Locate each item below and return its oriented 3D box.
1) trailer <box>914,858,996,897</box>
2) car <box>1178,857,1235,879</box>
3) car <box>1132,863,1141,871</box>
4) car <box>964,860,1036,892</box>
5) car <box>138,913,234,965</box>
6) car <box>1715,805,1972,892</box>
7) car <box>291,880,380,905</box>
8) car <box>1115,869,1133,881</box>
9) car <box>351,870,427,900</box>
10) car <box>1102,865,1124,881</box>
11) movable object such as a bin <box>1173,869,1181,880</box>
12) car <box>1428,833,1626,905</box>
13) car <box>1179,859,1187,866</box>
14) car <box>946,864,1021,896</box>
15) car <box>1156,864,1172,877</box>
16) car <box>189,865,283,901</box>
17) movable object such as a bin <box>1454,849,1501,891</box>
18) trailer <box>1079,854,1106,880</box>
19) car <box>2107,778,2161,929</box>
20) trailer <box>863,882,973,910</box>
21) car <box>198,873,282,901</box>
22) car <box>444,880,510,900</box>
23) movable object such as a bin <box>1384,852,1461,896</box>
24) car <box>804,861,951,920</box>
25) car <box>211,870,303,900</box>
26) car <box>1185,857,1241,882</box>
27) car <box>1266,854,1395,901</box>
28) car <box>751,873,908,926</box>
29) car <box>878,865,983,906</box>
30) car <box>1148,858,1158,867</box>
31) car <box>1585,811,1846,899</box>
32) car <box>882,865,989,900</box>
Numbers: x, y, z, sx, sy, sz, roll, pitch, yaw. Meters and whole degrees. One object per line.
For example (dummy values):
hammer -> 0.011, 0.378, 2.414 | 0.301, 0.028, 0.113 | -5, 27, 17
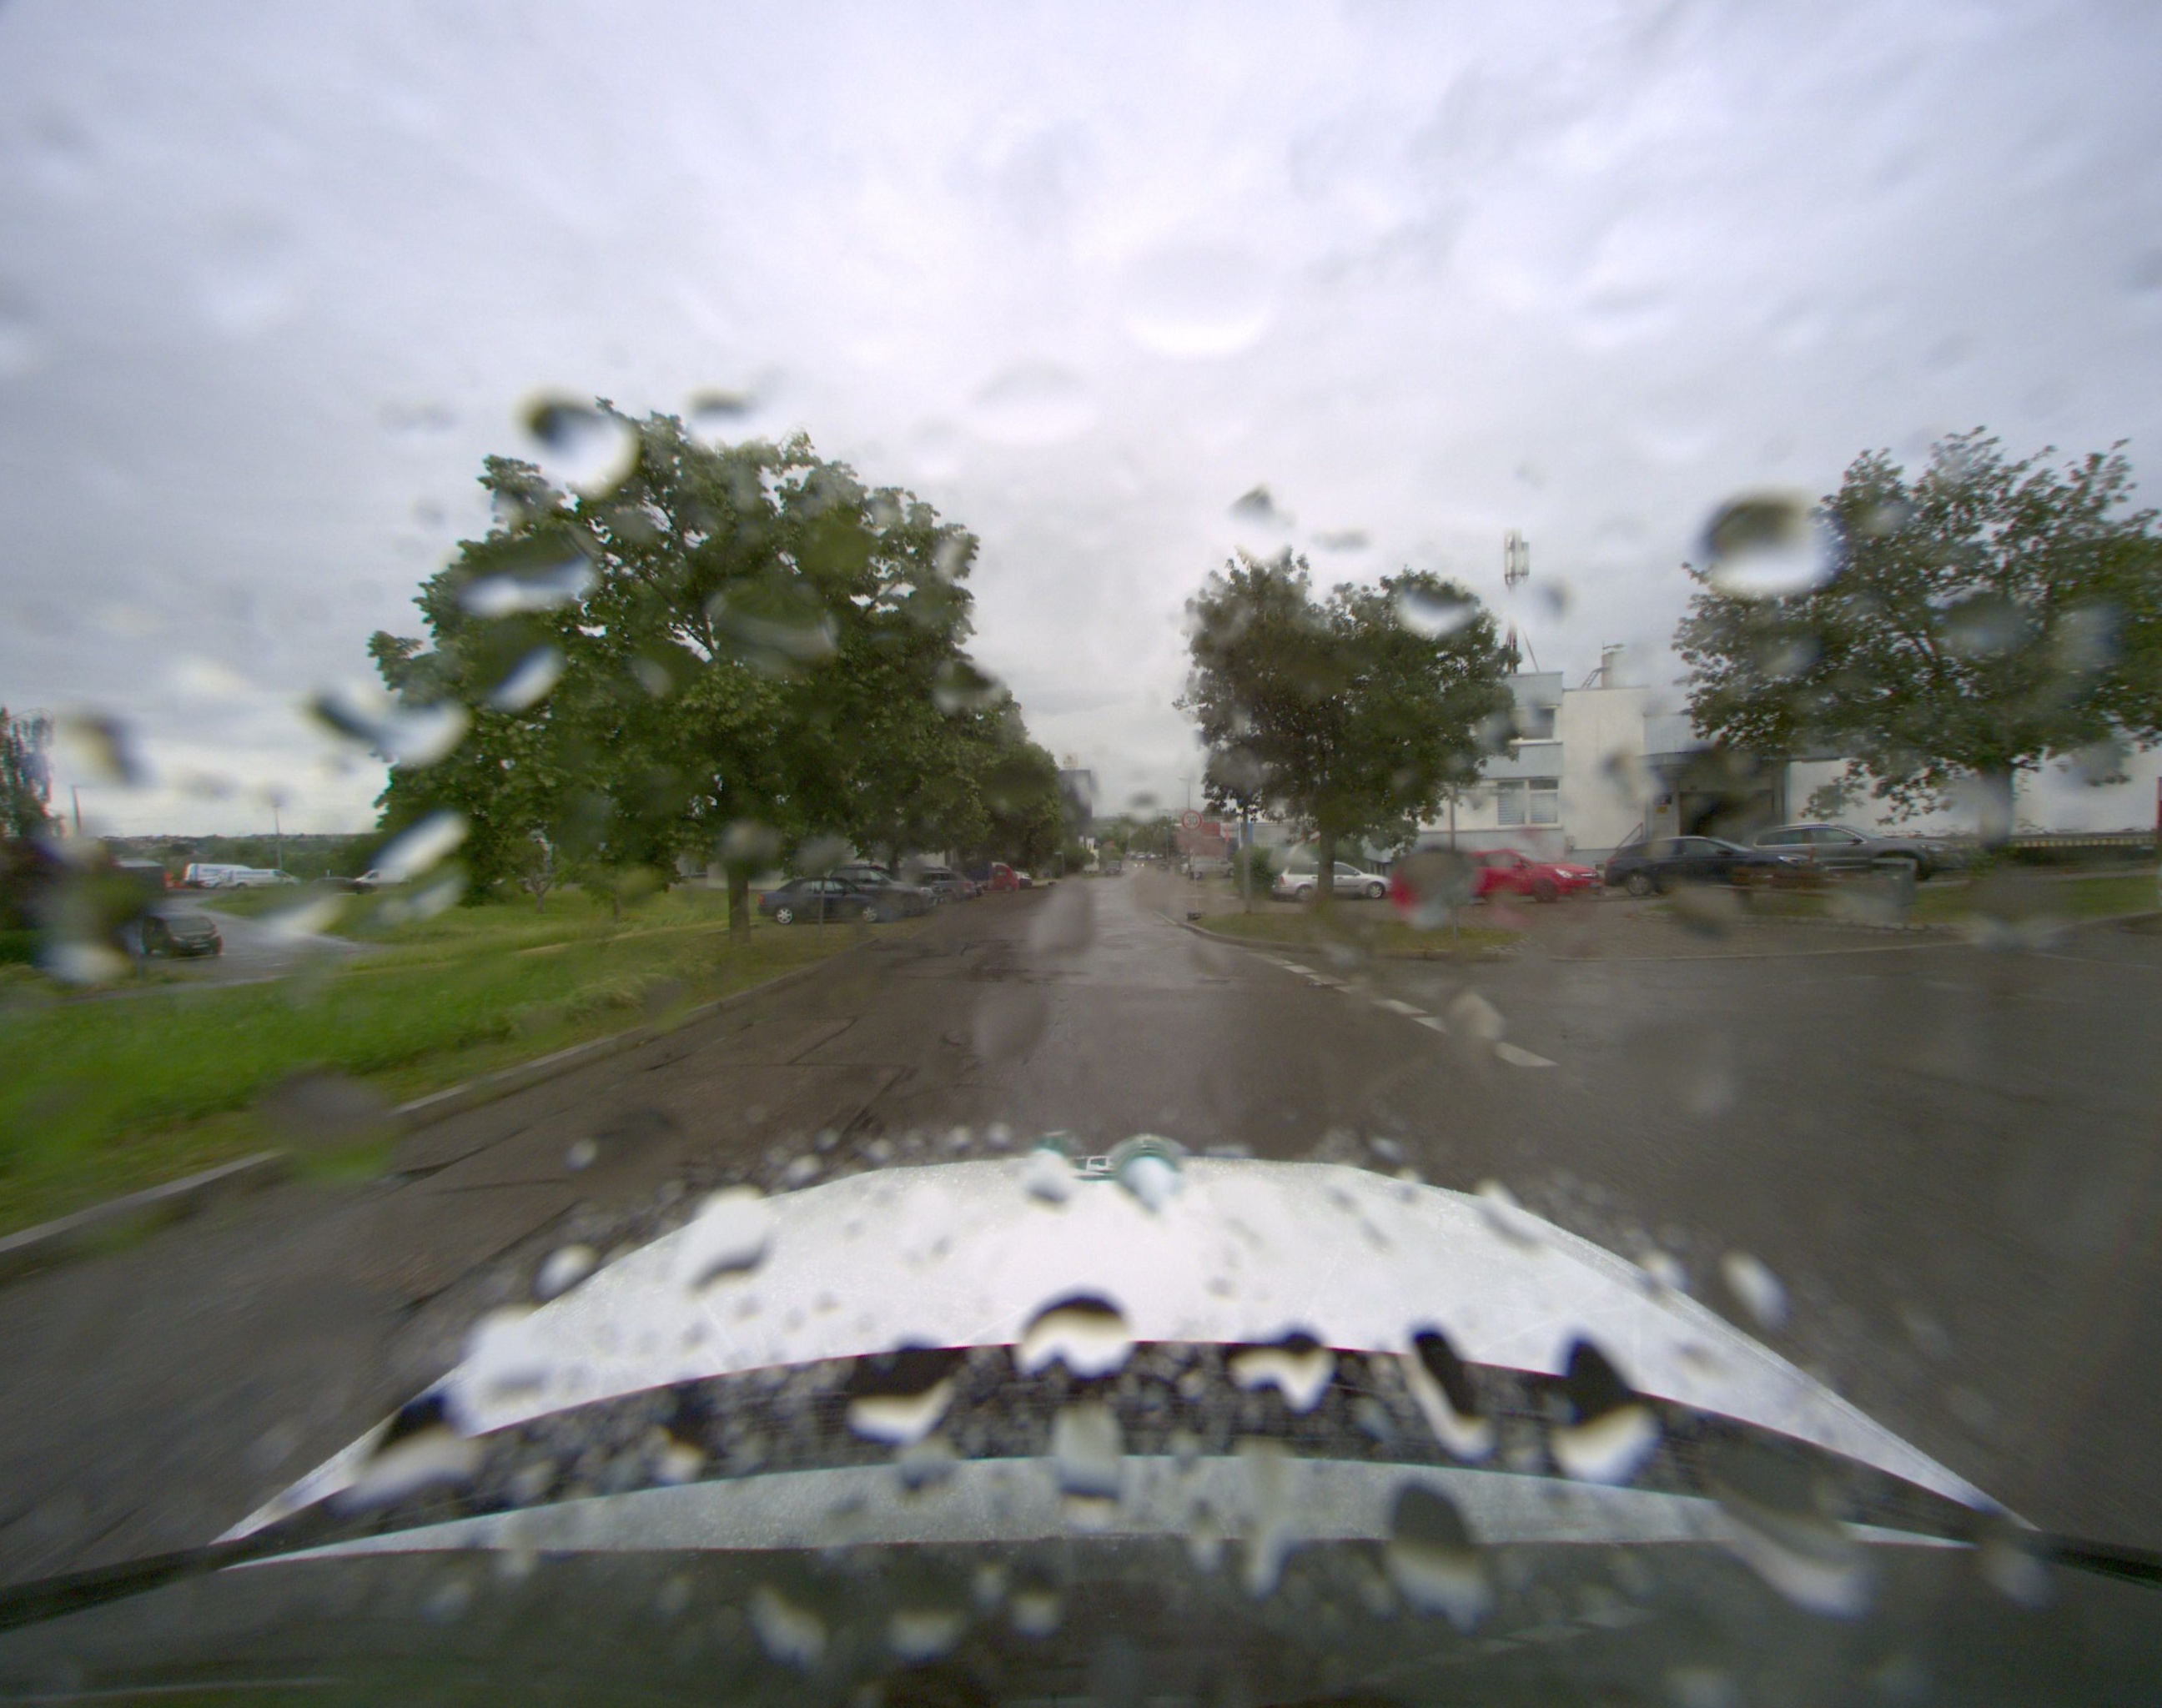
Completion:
trailer -> -7.057, 1.331, 45.837 | 4.193, 1.984, 1.776 | -2, -2, 4
car -> 10.599, 1.174, 68.878 | 4.572, 1.538, 2.083 | -4, -1, 7
car -> 12.000, 2.905, 176.727 | 1.739, 1.508, 3.939 | -5, -2, 4
car -> -5.312, 1.479, 53.655 | 4.273, 1.906, 1.867 | -3, -2, 10
car -> -43.651, 4.160, 39.719 | 4.446, 2.220, 1.941 | -4, -1, 26
car -> 19.395, -0.033, 20.943 | 1.866, 1.799, 4.411 | 1, -6, -34
car -> -66.162, 3.378, 72.383 | 2.261, 1.975, 5.456 | -5, -3, 32
car -> 5.846, 2.770, 110.089 | 1.945, 1.461, 5.258 | -3, -1, 7
car -> -87.655, 3.907, 103.263 | 2.511, 3.425, 6.773 | -5, -1, 32
car -> 3.771, 2.240, 95.569 | 1.904, 1.831, 4.859 | -2, -1, 9
movable object such as a bin -> 9.745, 2.096, 82.942 | 0.767, 1.030, 0.810 | -2, -1, 9
car -> 11.861, 0.468, 21.997 | 1.863, 1.585, 4.286 | -1, -4, -28
car -> 23.275, 1.857, 186.203 | 1.688, 1.475, 4.007 | -3, -2, 7
car -> -5.796, 1.530, 48.610 | 4.180, 1.722, 1.755 | -2, -2, 1
car -> 11.692, 2.320, 114.718 | 1.947, 1.676, 4.476 | -2, -2, 4
car -> -86.127, 2.880, 83.128 | 1.974, 3.430, 6.341 | -4, -2, 32
movable object such as a bin -> 15.229, 0.621, 31.322 | 1.298, 1.495, 1.031 | -4, -1, 7
trailer -> 1.944, 2.184, 139.048 | 2.018, 4.203, 4.134 | -1, -2, -45
car -> 15.420, -0.168, 9.903 | 4.709, 1.814, 1.936 | -4, -1, -16
trailer -> -6.504, 1.689, 32.767 | 3.925, 0.961, 2.001 | -1, -1, 2
car -> -84.039, 3.269, 81.465 | 1.975, 2.570, 5.463 | -3, -2, 27
car -> -59.990, 3.540, 80.952 | 2.261, 1.648, 4.649 | -5, -1, 32
movable object such as a bin -> 13.127, 0.758, 31.397 | 2.254, 1.503, 1.736 | -4, -1, 7
car -> -6.770, 1.204, 27.416 | 4.352, 1.722, 2.044 | -2, -2, 0
car -> -79.163, 2.976, 78.389 | 1.975, 2.702, 5.845 | -1, -1, 26
car -> 10.620, 1.250, 65.776 | 4.319, 1.773, 2.092 | -3, -1, 5
car -> 9.385, 0.895, 30.911 | 4.293, 1.585, 1.860 | -2, -2, 4
car -> -7.550, 1.360, 24.735 | 4.203, 1.431, 1.771 | -1, -2, -4
car -> -6.487, 1.349, 35.454 | 4.053, 1.722, 2.029 | 0, -2, 6
car -> 19.524, 2.361, 221.948 | 2.186, 2.459, 3.998 | -2, -2, -1
car -> 15.944, 0.110, 20.793 | 1.865, 1.585, 4.780 | -1, -7, -33
car -> -6.750, 1.332, 38.016 | 4.596, 1.590, 1.808 | 0, -2, 4
